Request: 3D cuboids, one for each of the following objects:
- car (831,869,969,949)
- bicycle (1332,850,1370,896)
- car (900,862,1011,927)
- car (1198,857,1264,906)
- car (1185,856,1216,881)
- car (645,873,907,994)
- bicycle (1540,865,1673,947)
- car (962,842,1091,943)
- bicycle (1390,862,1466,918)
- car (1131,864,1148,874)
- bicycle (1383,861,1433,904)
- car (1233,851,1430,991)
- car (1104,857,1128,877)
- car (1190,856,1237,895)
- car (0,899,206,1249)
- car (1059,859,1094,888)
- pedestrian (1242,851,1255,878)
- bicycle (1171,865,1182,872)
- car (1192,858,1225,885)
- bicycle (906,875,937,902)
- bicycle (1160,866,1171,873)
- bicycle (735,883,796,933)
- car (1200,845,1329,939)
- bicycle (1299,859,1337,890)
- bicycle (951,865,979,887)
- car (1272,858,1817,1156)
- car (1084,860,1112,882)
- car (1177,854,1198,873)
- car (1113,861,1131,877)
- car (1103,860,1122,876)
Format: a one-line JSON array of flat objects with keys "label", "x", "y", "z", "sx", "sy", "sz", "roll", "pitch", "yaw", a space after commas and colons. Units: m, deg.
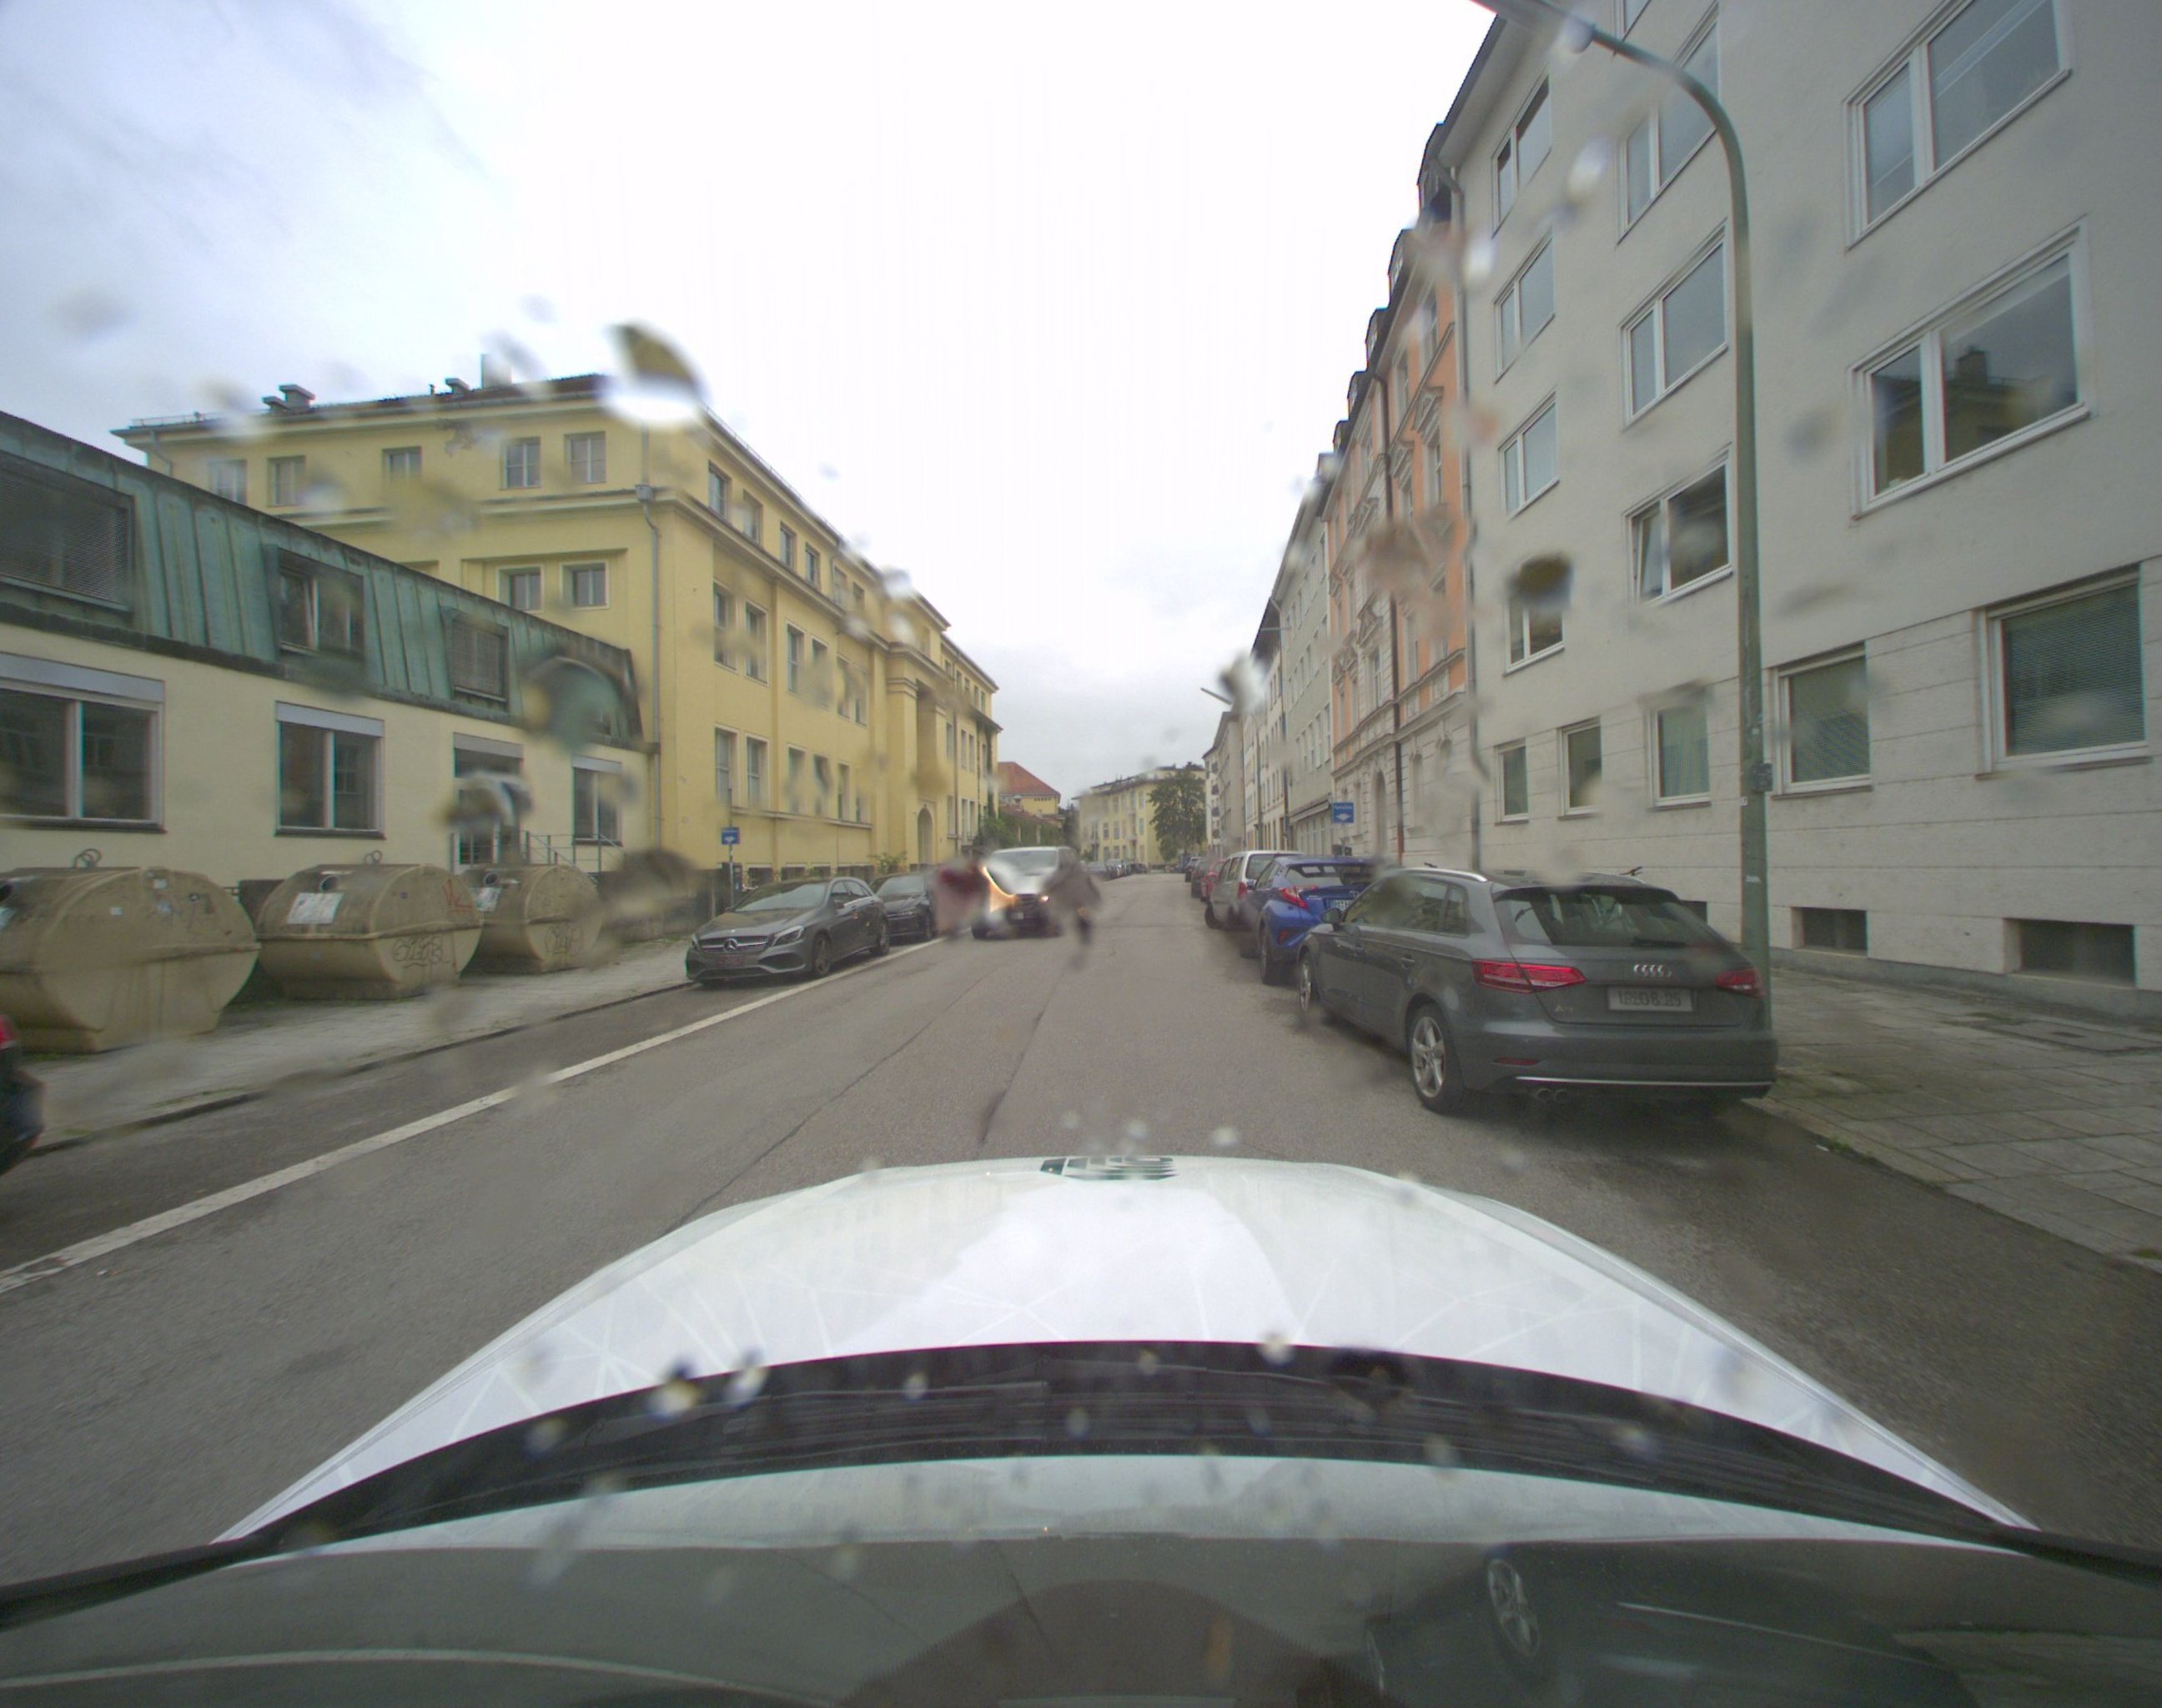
[{"label": "car", "x": -3.782, "y": 1.104, "z": 17.865, "sx": 1.742, "sy": 1.405, "sz": 4.358, "roll": -4, "pitch": -1, "yaw": 3}, {"label": "bicycle", "x": 8.690, "y": 0.600, "z": 26.280, "sx": 0.593, "sy": 1.385, "sz": 2.094, "roll": -2, "pitch": -1, "yaw": 3}, {"label": "car", "x": -3.319, "y": 1.054, "z": 22.510, "sx": 1.949, "sy": 1.482, "sz": 4.534, "roll": -4, "pitch": -1, "yaw": 4}, {"label": "car", "x": 4.891, "y": 0.856, "z": 27.059, "sx": 1.680, "sy": 1.500, "sz": 4.151, "roll": 0, "pitch": 0, "yaw": 4}, {"label": "car", "x": 7.617, "y": 0.919, "z": 52.021, "sx": 1.829, "sy": 1.522, "sz": 4.719, "roll": 0, "pitch": -1, "yaw": 8}, {"label": "car", "x": -4.457, "y": 1.089, "z": 12.859, "sx": 2.005, "sy": 1.418, "sz": 4.621, "roll": -4, "pitch": -1, "yaw": 5}, {"label": "bicycle", "x": 7.595, "y": 0.710, "z": 11.887, "sx": 0.528, "sy": 1.072, "sz": 1.998, "roll": -1, "pitch": -1, "yaw": -3}, {"label": "car", "x": -1.029, "y": 0.780, "z": 18.455, "sx": 1.906, "sy": 1.848, "sz": 5.330, "roll": -3, "pitch": -1, "yaw": 6}, {"label": "bicycle", "x": 7.347, "y": 0.734, "z": 17.349, "sx": 0.721, "sy": 1.112, "sz": 1.993, "roll": -1, "pitch": -1, "yaw": -1}, {"label": "car", "x": 10.521, "y": 2.710, "z": 147.311, "sx": 1.765, "sy": 1.874, "sz": 4.356, "roll": 3, "pitch": -2, "yaw": -15}, {"label": "bicycle", "x": 8.247, "y": 0.700, "z": 20.597, "sx": 0.593, "sy": 1.024, "sz": 1.819, "roll": -2, "pitch": -1, "yaw": 3}, {"label": "car", "x": 3.126, "y": 0.749, "z": 11.079, "sx": 1.733, "sy": 1.494, "sz": 4.556, "roll": -1, "pitch": -1, "yaw": 7}, {"label": "car", "x": 3.696, "y": 1.323, "z": 85.079, "sx": 1.877, "sy": 1.889, "sz": 4.784, "roll": -4, "pitch": -1, "yaw": 8}, {"label": "car", "x": 5.177, "y": 0.812, "z": 32.107, "sx": 1.678, "sy": 1.402, "sz": 4.373, "roll": -1, "pitch": -1, "yaw": 8}, {"label": "car", "x": -5.871, "y": 1.044, "z": 2.132, "sx": 1.903, "sy": 1.482, "sz": 4.540, "roll": -4, "pitch": -1, "yaw": 7}, {"label": "car", "x": -0.203, "y": 1.205, "z": 50.969, "sx": 1.738, "sy": 1.634, "sz": 4.861, "roll": -3, "pitch": -1, "yaw": 4}, {"label": "pedestrian", "x": 11.279, "y": 0.740, "z": 54.829, "sx": 0.719, "sy": 1.763, "sz": 0.906, "roll": -1, "pitch": -3, "yaw": 7}, {"label": "bicycle", "x": 17.124, "y": 2.671, "z": 146.362, "sx": 1.905, "sy": 1.201, "sz": 0.598, "roll": -1, "pitch": -1, "yaw": 20}, {"label": "car", "x": 6.960, "y": 0.934, "z": 44.875, "sx": 1.663, "sy": 1.429, "sz": 4.539, "roll": 0, "pitch": -1, "yaw": 7}, {"label": "bicycle", "x": -6.660, "y": 1.436, "z": 34.094, "sx": 0.533, "sy": 1.063, "sz": 1.647, "roll": -1, "pitch": -1, "yaw": 17}, {"label": "bicycle", "x": 15.323, "y": 2.819, "z": 147.761, "sx": 1.904, "sy": 1.201, "sz": 0.599, "roll": -2, "pitch": -2, "yaw": 43}, {"label": "bicycle", "x": -8.245, "y": 1.392, "z": 21.368, "sx": 0.532, "sy": 1.185, "sz": 2.110, "roll": -1, "pitch": -1, "yaw": 7}, {"label": "car", "x": 3.541, "y": 0.695, "z": 16.364, "sx": 1.676, "sy": 1.673, "sz": 3.802, "roll": 0, "pitch": -1, "yaw": -1}, {"label": "bicycle", "x": 8.880, "y": 0.752, "z": 30.428, "sx": 0.614, "sy": 1.089, "sz": 1.826, "roll": -3, "pitch": -1, "yaw": 41}, {"label": "bicycle", "x": -7.124, "y": 1.368, "z": 50.008, "sx": 1.617, "sy": 1.268, "sz": 0.528, "roll": -2, "pitch": -1, "yaw": 7}, {"label": "car", "x": 2.850, "y": 0.787, "z": 6.286, "sx": 1.700, "sy": 1.454, "sz": 4.401, "roll": 1, "pitch": 0, "yaw": 0}, {"label": "car", "x": 1.383, "y": 1.347, "z": 64.526, "sx": 1.781, "sy": 1.587, "sz": 4.824, "roll": -4, "pitch": -1, "yaw": 5}, {"label": "car", "x": 14.409, "y": 1.300, "z": 110.107, "sx": 2.072, "sy": 2.234, "sz": 5.243, "roll": 3, "pitch": -3, "yaw": 1}, {"label": "car", "x": 4.817, "y": 1.757, "z": 95.333, "sx": 1.689, "sy": 1.643, "sz": 4.497, "roll": -4, "pitch": -1, "yaw": 6}, {"label": "car", "x": 3.113, "y": 1.356, "z": 79.643, "sx": 1.583, "sy": 1.441, "sz": 4.024, "roll": -4, "pitch": -1, "yaw": 5}]
